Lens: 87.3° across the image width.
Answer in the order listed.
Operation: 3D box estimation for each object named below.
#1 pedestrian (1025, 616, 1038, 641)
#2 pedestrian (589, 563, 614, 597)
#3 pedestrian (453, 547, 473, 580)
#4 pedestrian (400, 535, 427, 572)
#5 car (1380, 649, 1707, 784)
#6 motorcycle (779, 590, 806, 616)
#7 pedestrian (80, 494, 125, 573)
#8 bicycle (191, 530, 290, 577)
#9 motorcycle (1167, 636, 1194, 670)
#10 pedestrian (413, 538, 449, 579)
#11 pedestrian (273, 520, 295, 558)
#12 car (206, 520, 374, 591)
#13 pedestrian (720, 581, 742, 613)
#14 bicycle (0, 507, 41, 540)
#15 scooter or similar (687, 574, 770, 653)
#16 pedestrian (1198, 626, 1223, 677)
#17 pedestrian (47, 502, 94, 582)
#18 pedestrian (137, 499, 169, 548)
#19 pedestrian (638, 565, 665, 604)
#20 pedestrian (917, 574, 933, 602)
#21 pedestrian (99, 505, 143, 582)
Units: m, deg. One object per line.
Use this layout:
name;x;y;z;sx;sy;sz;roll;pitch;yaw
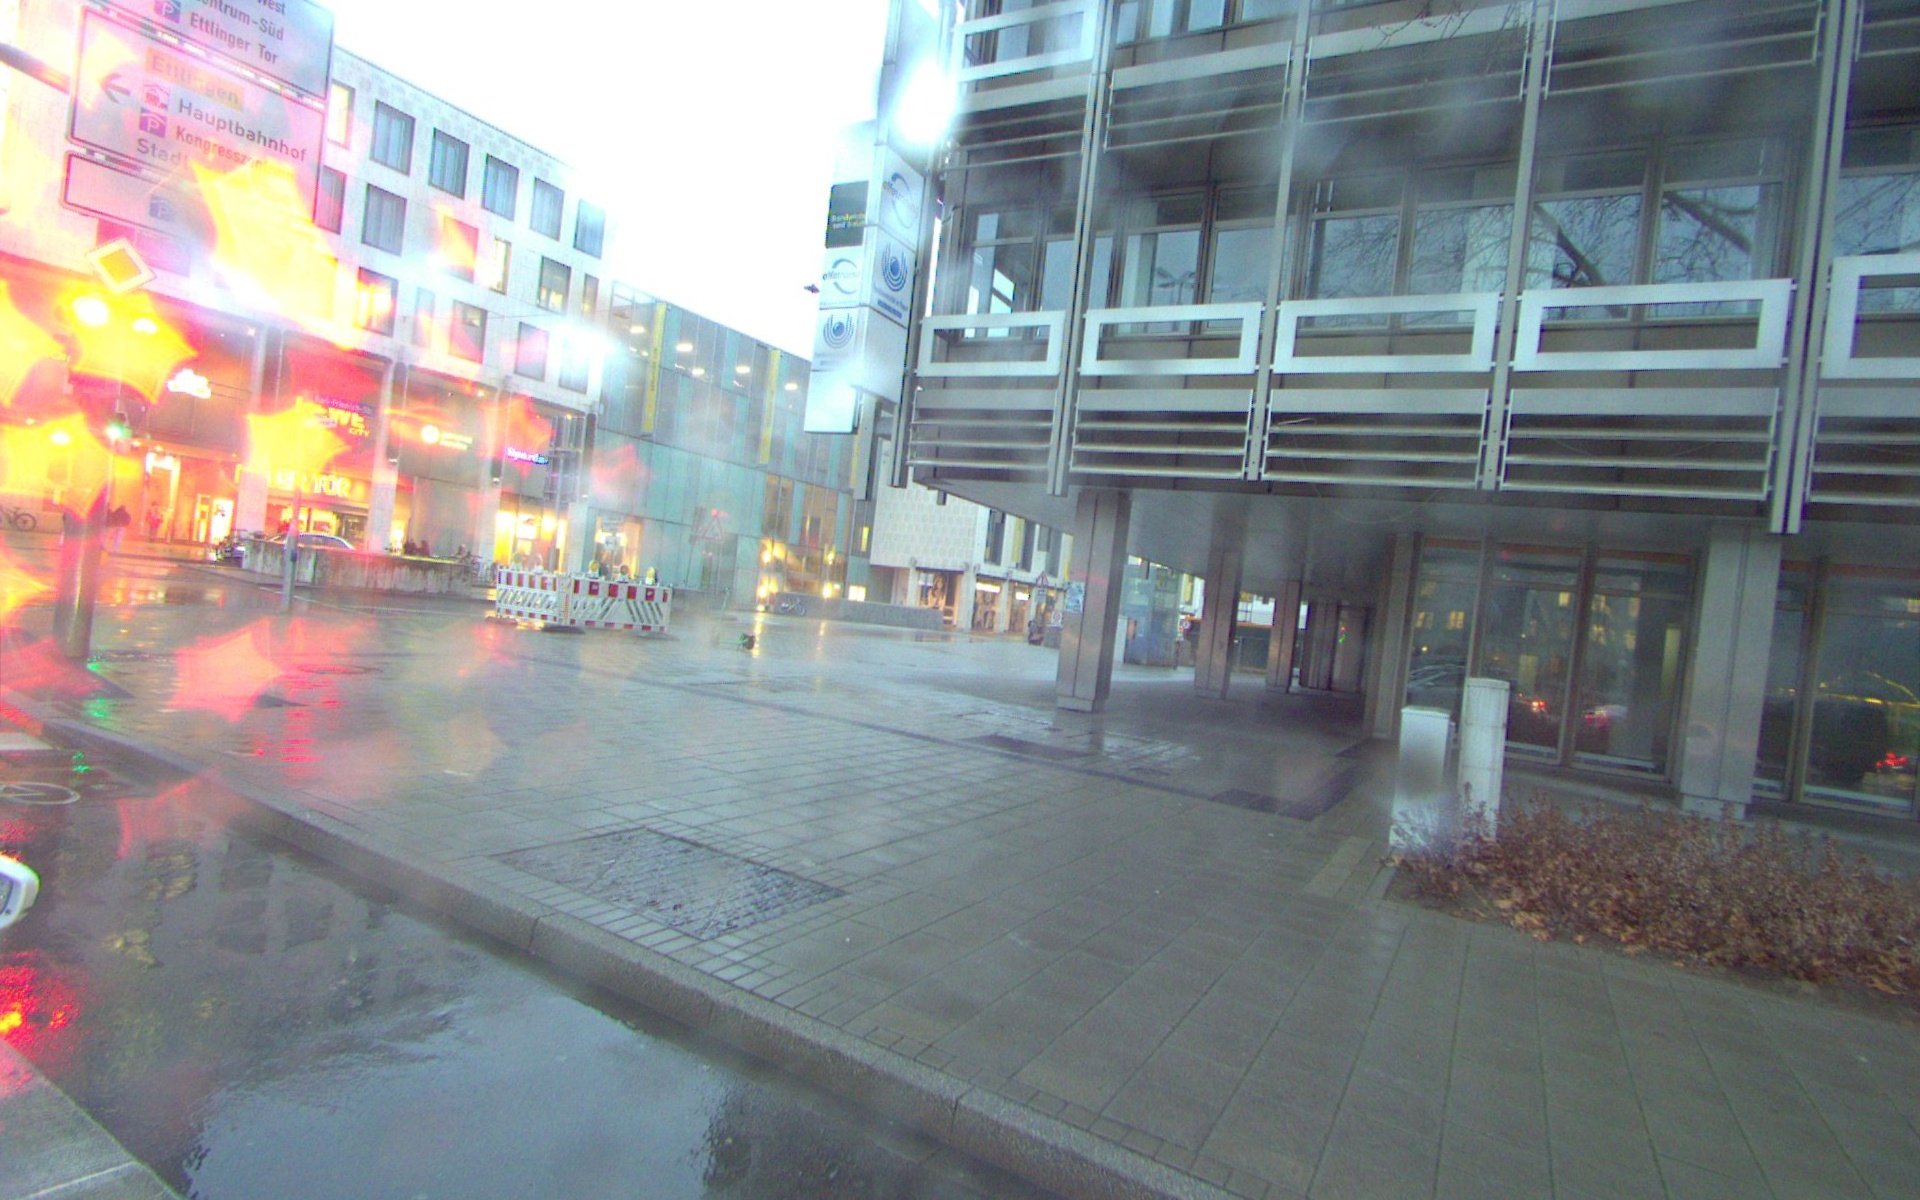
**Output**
pedestrian;5.270;2.112;74.120;0.573;1.703;0.542;6;-1;38
pedestrian;-19.211;-1.058;53.924;0.770;1.703;0.742;6;-1;38
pedestrian;-24.299;-1.776;49.178;0.511;1.512;0.586;6;0;34
pedestrian;-26.508;-2.245;48.772;0.519;1.705;0.894;6;0;31
car;8.699;1.654;15.234;3.935;1.327;1.994;6;1;33
motorcycle;-10.153;0.166;61.149;0.585;1.368;1.491;7;-1;36
pedestrian;-28.283;-2.183;33.174;0.745;2.469;0.691;7;-1;31
bicycle;-26.340;-1.684;36.881;0.941;1.375;2.718;6;-1;28
motorcycle;9.690;2.334;44.214;0.584;1.368;1.493;7;-1;29
pedestrian;-24.457;-1.900;46.539;0.810;1.703;1.032;6;-1;31
pedestrian;-33.030;-2.968;49.144;0.729;1.740;0.733;6;1;-31
car;-21.714;-1.408;32.737;1.968;1.636;3.994;6;-2;33
pedestrian;-13.186;-0.174;57.946;0.770;1.703;0.742;6;-1;38
bicycle;-36.451;-2.990;38.540;0.515;1.082;1.651;7;-2;28
scooter or similar;-4.661;0.267;20.232;1.470;1.368;0.593;7;-1;32
pedestrian;9.278;1.897;37.232;0.678;1.796;0.660;7;-1;16
pedestrian;-28.729;-1.867;32.503;0.745;2.469;0.716;7;-1;31
pedestrian;-36.113;-3.430;45.007;0.688;2.038;0.845;7;1;40
pedestrian;-14.633;-0.735;47.768;0.770;1.703;0.742;6;-1;38
pedestrian;-2.219;-0.773;64.053;0.573;1.703;0.542;6;-1;38
pedestrian;-28.420;-1.912;34.096;0.778;2.477;0.694;7;-1;32
